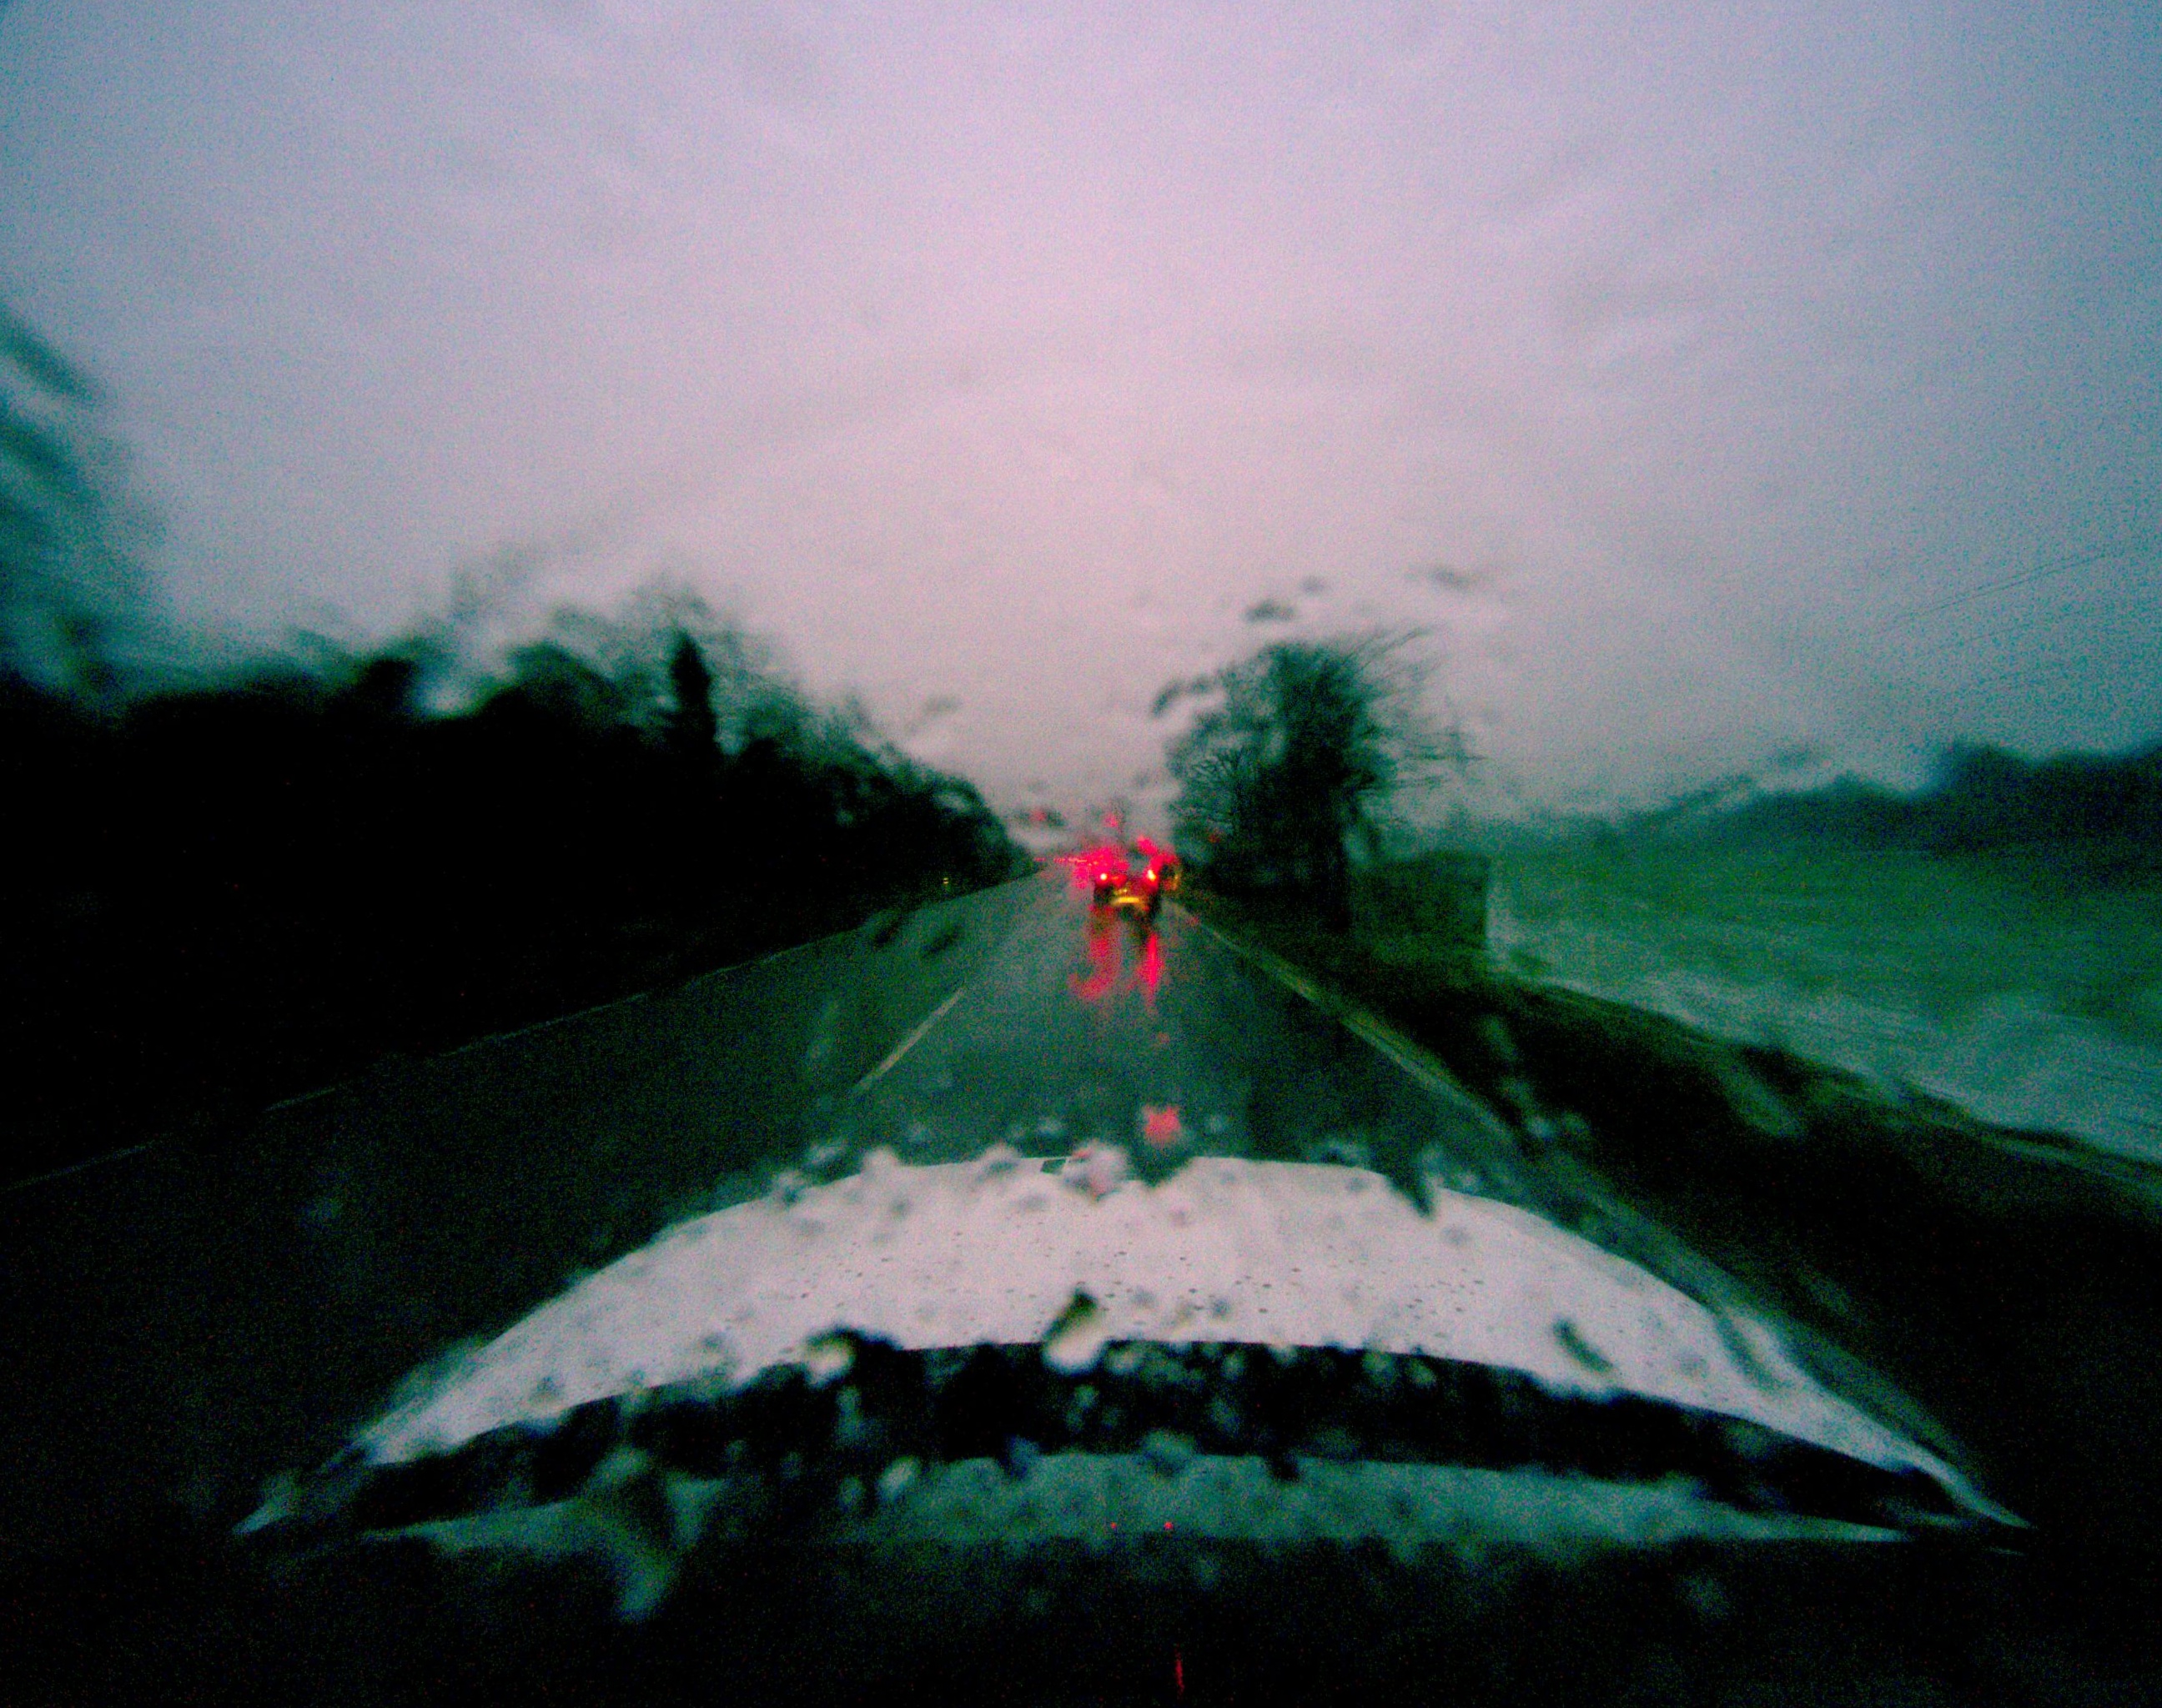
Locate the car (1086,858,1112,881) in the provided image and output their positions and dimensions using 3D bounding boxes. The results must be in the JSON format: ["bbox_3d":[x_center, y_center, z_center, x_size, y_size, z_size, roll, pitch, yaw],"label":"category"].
[{"bbox_3d":[1.153,0.960,51.663,1.541,1.397,3.872,-1,0,2],"label":"car"}]

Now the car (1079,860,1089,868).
[{"bbox_3d":[0.475,1.658,139.625,1.540,1.397,3.873,-1,0,3],"label":"car"}]

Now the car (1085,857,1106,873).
[{"bbox_3d":[1.283,0.933,71.042,1.540,1.397,3.874,-1,0,4],"label":"car"}]

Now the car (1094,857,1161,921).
[{"bbox_3d":[1.300,0.857,21.508,1.594,1.522,3.875,-1,0,5],"label":"car"}]
